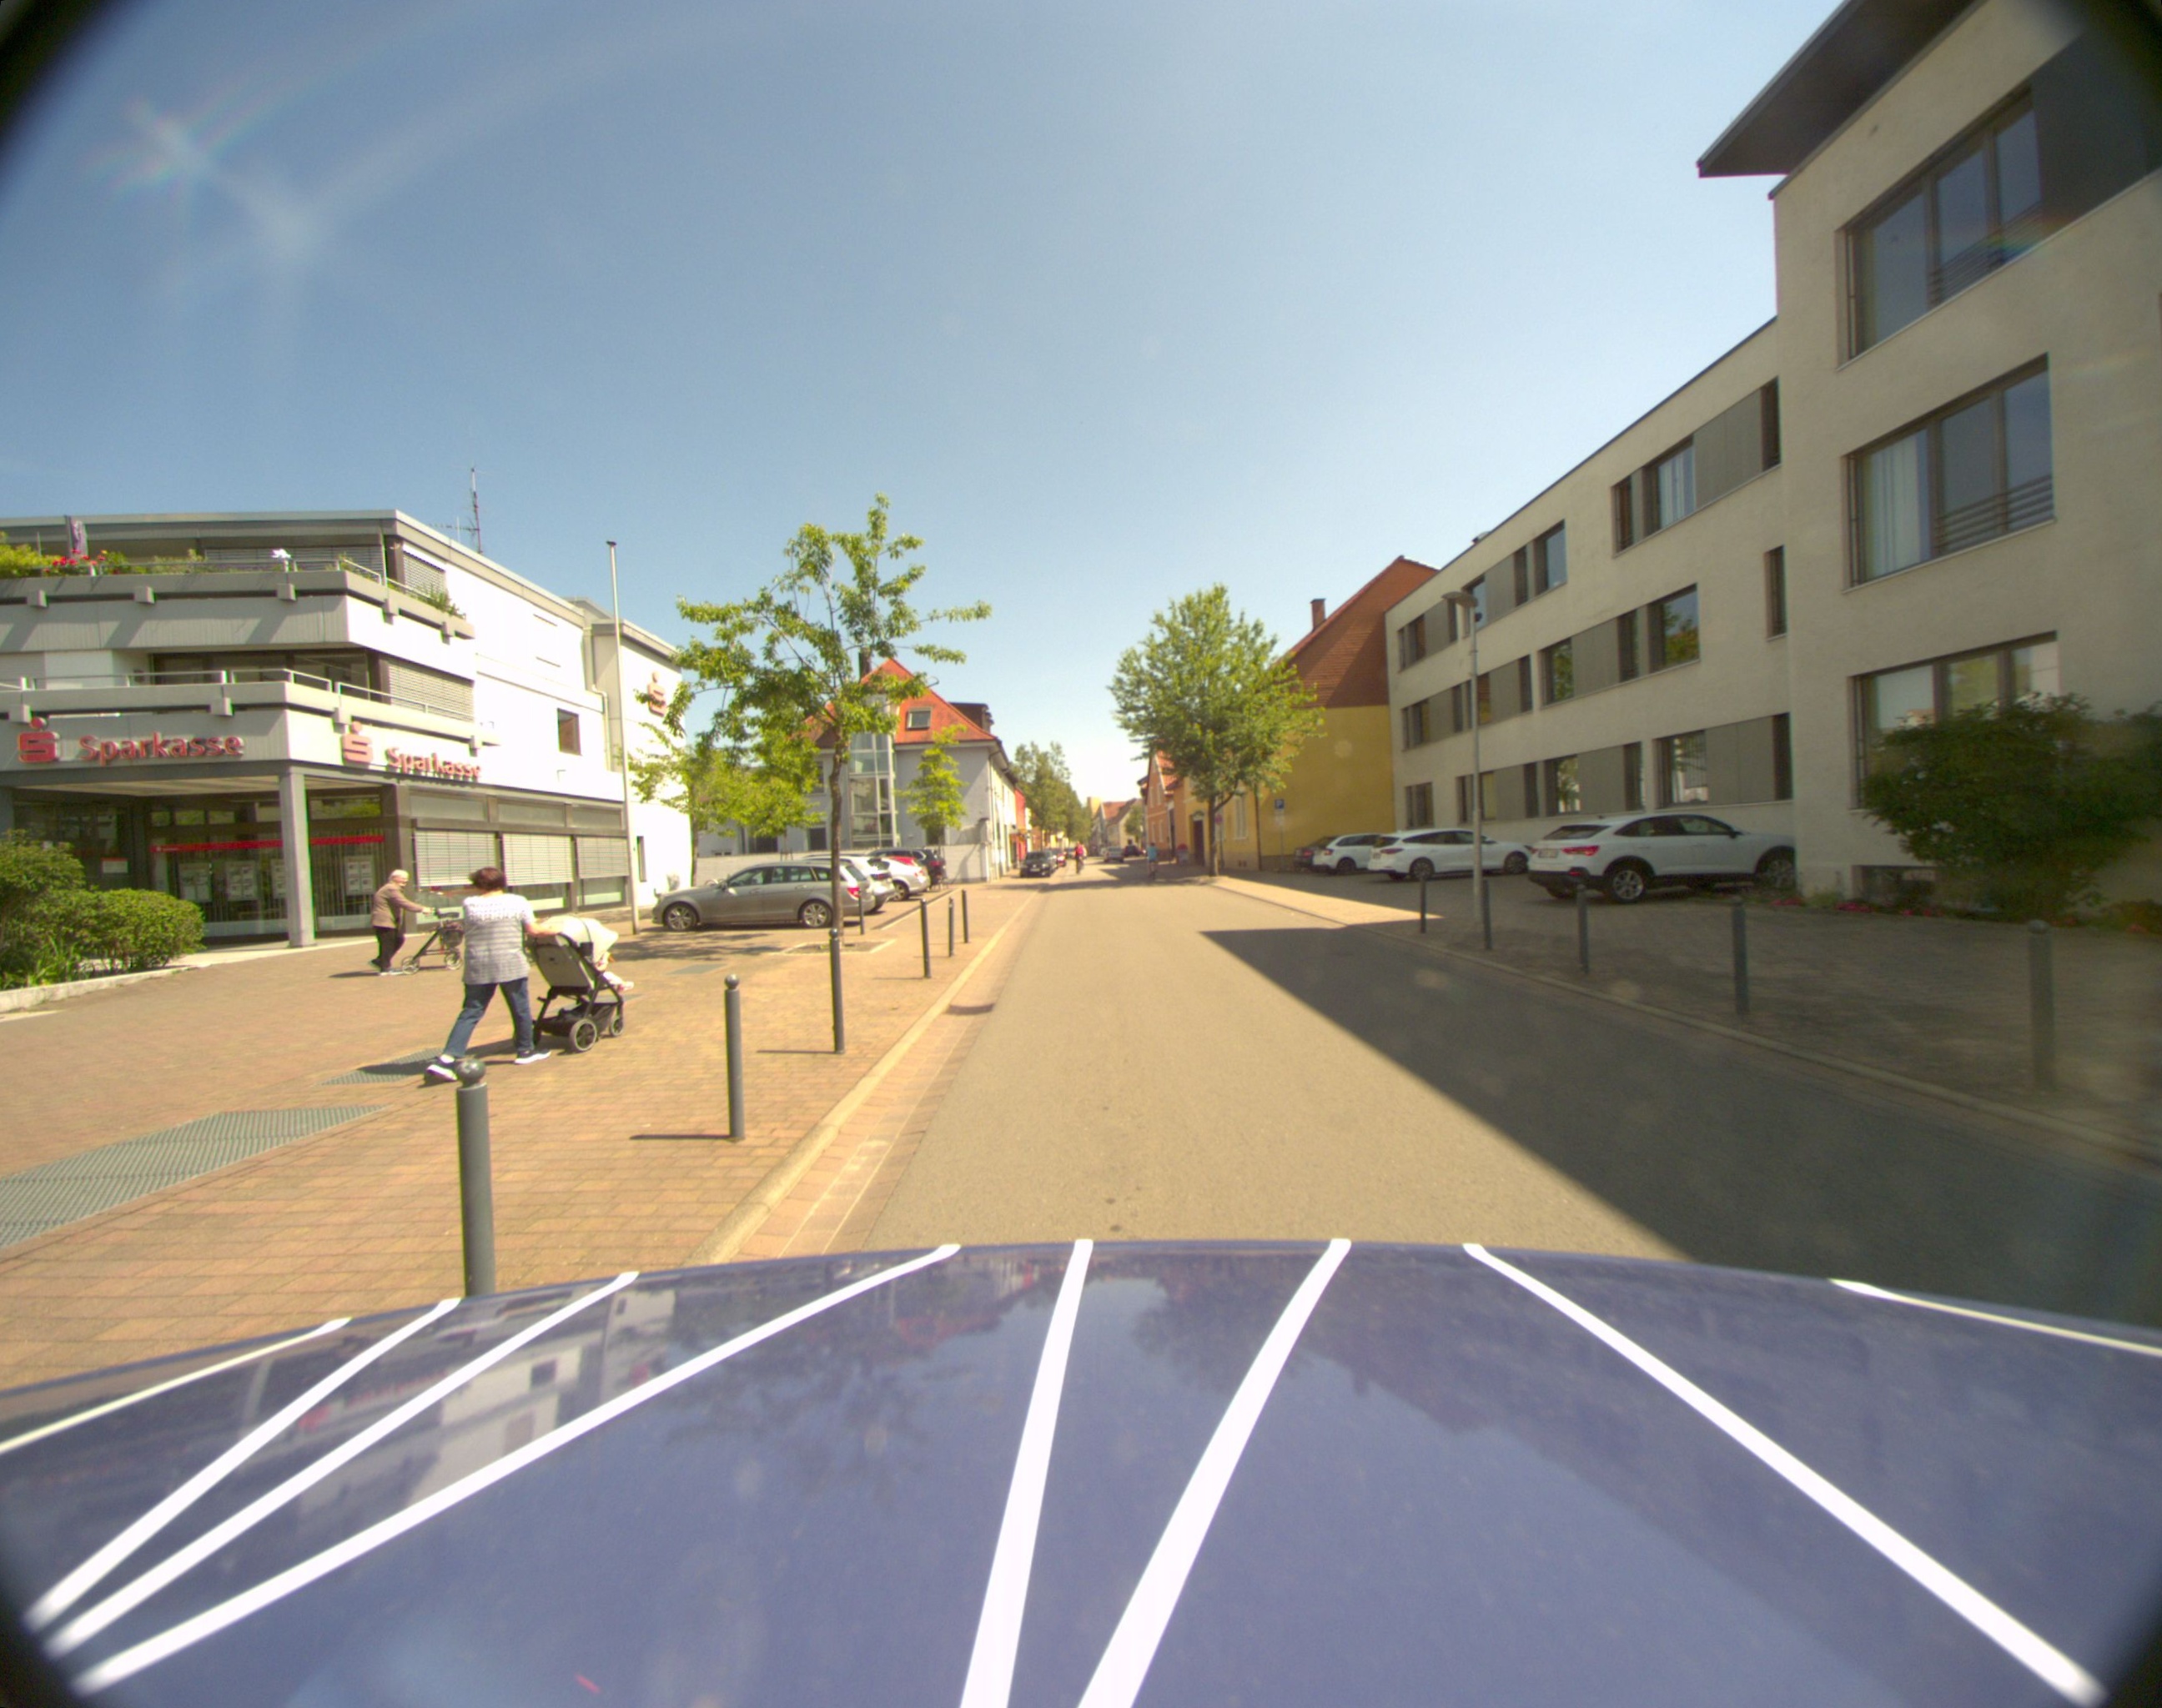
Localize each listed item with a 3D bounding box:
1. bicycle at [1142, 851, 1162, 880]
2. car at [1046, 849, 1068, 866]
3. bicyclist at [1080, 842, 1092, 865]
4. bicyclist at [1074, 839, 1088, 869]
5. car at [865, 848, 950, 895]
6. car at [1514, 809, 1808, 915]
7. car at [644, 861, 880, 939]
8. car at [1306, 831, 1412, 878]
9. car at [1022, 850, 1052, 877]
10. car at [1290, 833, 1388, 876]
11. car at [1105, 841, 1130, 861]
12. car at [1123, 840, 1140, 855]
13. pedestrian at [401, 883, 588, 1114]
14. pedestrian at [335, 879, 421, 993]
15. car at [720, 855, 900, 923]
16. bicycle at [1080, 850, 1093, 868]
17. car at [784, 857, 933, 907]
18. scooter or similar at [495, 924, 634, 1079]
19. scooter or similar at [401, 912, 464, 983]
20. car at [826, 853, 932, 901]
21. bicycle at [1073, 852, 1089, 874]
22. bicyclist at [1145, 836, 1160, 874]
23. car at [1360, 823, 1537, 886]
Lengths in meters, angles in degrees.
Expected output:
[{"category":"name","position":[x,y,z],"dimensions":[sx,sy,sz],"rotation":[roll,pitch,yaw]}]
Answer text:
[{"category":"bicycle","position":[3.094,0.494,33.091],"dimensions":[0.595,1.183,1.724],"rotation":[-3,1,-2]},{"category":"car","position":[-1.971,0.245,61.925],"dimensions":[1.530,1.298,3.248],"rotation":[-1,1,-6]},{"category":"bicyclist","position":[0.345,-0.057,53.805],"dimensions":[0.703,1.573,0.878],"rotation":[-4,2,-3]},{"category":"bicyclist","position":[0.010,0.001,43.902],"dimensions":[0.703,1.707,0.759],"rotation":[-4,2,-3]},{"category":"car","position":[-6.705,0.653,29.557],"dimensions":[3.041,1.727,1.344],"rotation":[-1,1,-5]},{"category":"car","position":[10.394,0.121,13.827],"dimensions":[3.997,1.539,1.748],"rotation":[-4,1,-2]},{"category":"car","position":[-6.859,0.958,16.732],"dimensions":[4.446,1.457,1.689],"rotation":[-1,2,-6]},{"category":"car","position":[9.928,0.013,27.283],"dimensions":[3.139,1.442,1.642],"rotation":[-4,1,1]},{"category":"car","position":[-2.502,0.497,42.479],"dimensions":[1.530,1.444,3.519],"rotation":[-1,1,-6]},{"category":"car","position":[9.965,0.002,29.493],"dimensions":[3.258,1.393,1.374],"rotation":[-4,1,-2]},{"category":"car","position":[3.316,-0.309,69.630],"dimensions":[1.999,1.696,3.999],"rotation":[-2,1,-1]},{"category":"car","position":[6.599,-0.827,99.787],"dimensions":[1.826,1.805,3.999],"rotation":[-2,1,-1]},{"category":"pedestrian","position":[-4.315,1.004,5.673],"dimensions":[0.513,1.507,1.048],"rotation":[-2,1,1]},{"category":"pedestrian","position":[-9.863,1.121,10.673],"dimensions":[0.530,1.492,0.725],"rotation":[-1,1,35]},{"category":"car","position":[-6.866,0.848,19.598],"dimensions":[4.047,1.550,1.711],"rotation":[-1,1,-6]},{"category":"bicycle","position":[0.373,0.343,53.774],"dimensions":[0.690,1.183,1.798],"rotation":[-4,1,-3]},{"category":"car","position":[-7.168,0.874,24.881],"dimensions":[4.446,1.434,1.655],"rotation":[-1,1,-8]},{"category":"scooter or similar","position":[-4.286,1.192,6.366],"dimensions":[0.505,1.112,0.909],"rotation":[-1,1,1]},{"category":"scooter or similar","position":[-9.517,1.358,11.156],"dimensions":[0.535,0.940,0.548],"rotation":[-1,1,36]},{"category":"car","position":[-7.219,0.790,27.415],"dimensions":[3.431,1.543,1.490],"rotation":[-2,1,-5]},{"category":"bicycle","position":[-0.026,0.492,43.895],"dimensions":[0.738,1.183,1.970],"rotation":[-4,1,-3]},{"category":"bicyclist","position":[3.108,0.032,33.142],"dimensions":[0.538,1.630,0.551],"rotation":[-2,1,-2]},{"category":"car","position":[10.599,0.006,22.092],"dimensions":[4.324,1.470,1.513],"rotation":[-4,1,0]}]
